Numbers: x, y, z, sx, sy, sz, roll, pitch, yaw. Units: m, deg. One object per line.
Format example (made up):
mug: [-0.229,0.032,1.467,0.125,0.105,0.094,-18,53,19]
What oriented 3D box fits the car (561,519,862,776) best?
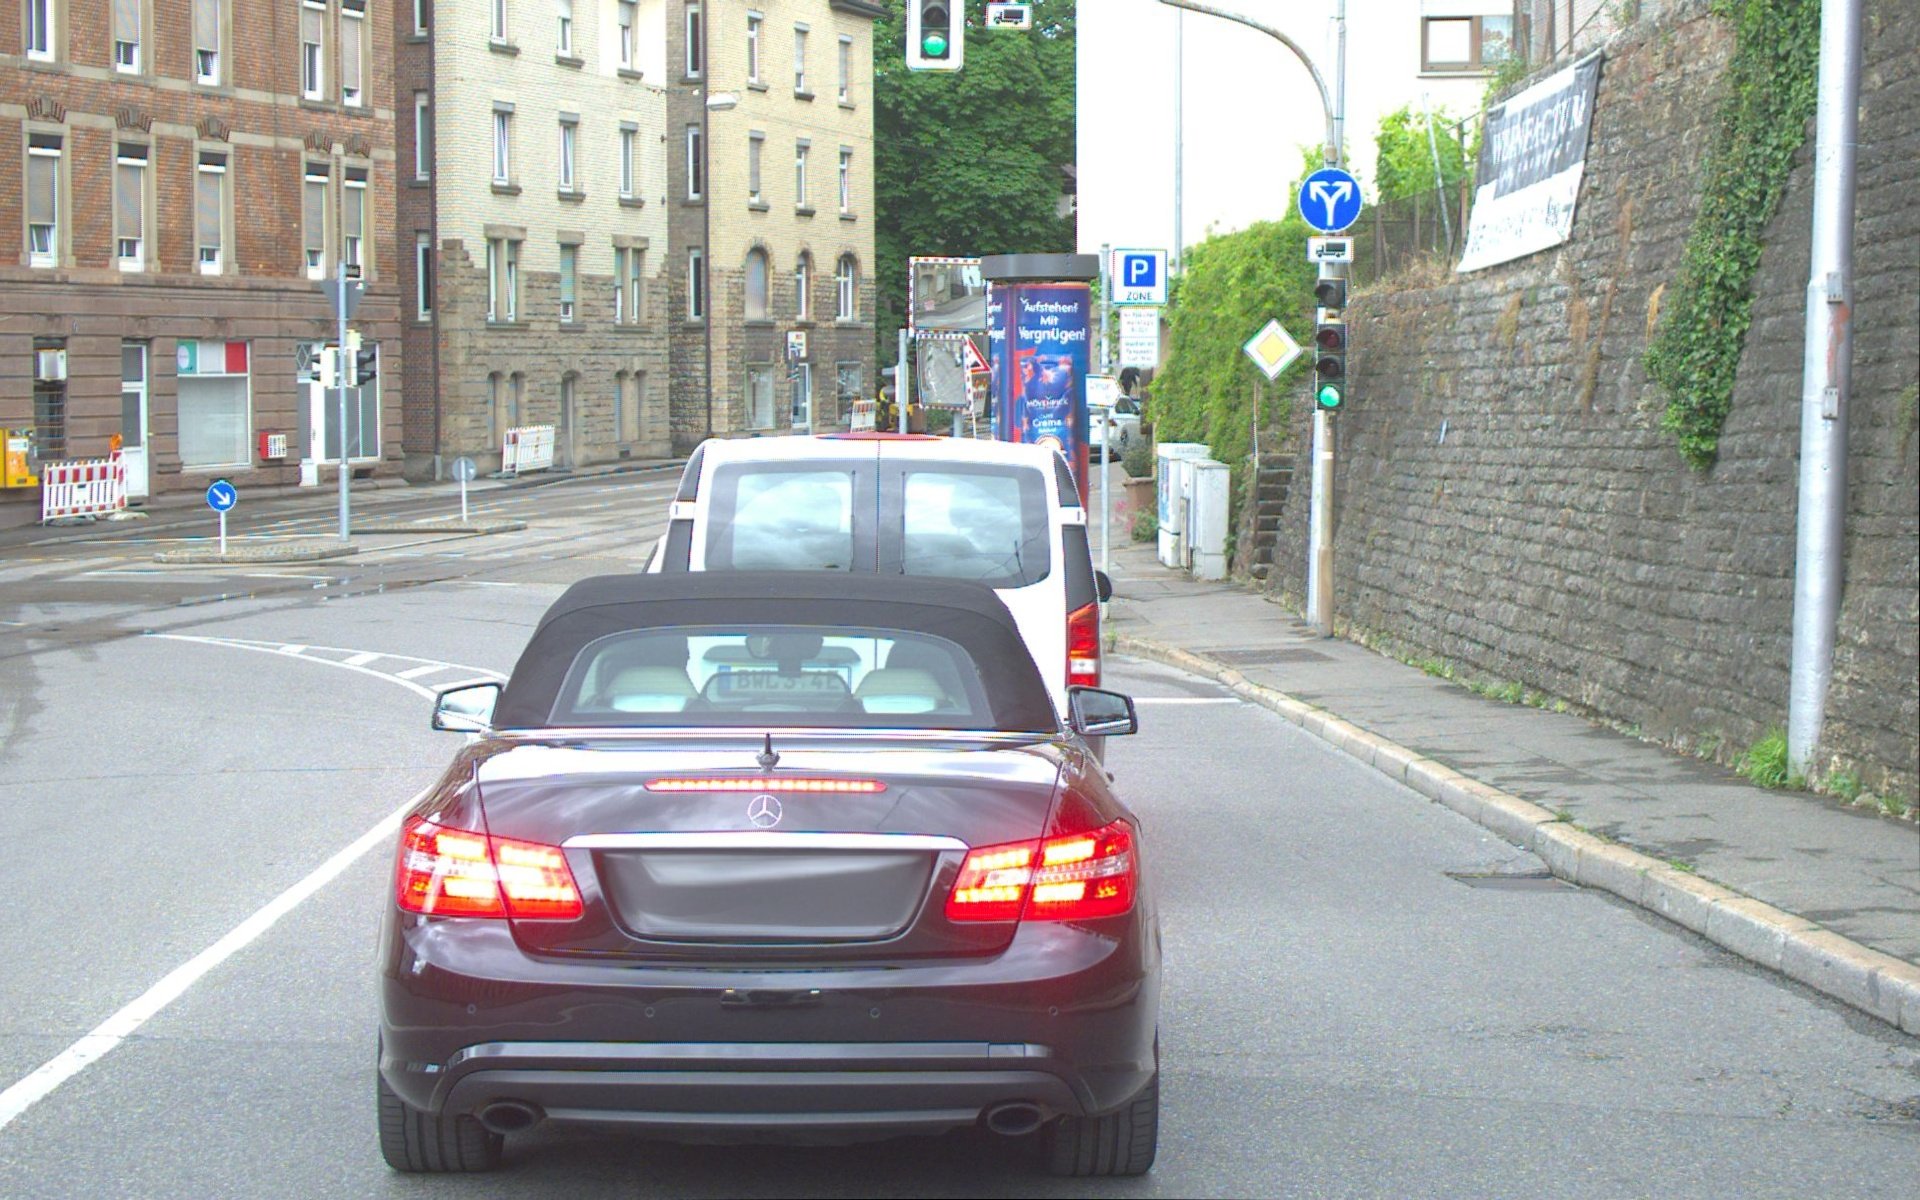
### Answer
car: [-1.504,0.231,21.979,1.681,1.461,3.919,1,2,-1]

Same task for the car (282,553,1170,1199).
car: [-0.495,0.620,9.058,1.761,1.404,4.399,1,2,-1]

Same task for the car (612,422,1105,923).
car: [-0.422,0.215,15.635,1.891,1.922,4.646,1,2,-1]

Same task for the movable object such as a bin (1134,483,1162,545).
movable object such as a bin: [2.810,-1.286,51.384,0.343,0.908,0.495,0,2,-6]
